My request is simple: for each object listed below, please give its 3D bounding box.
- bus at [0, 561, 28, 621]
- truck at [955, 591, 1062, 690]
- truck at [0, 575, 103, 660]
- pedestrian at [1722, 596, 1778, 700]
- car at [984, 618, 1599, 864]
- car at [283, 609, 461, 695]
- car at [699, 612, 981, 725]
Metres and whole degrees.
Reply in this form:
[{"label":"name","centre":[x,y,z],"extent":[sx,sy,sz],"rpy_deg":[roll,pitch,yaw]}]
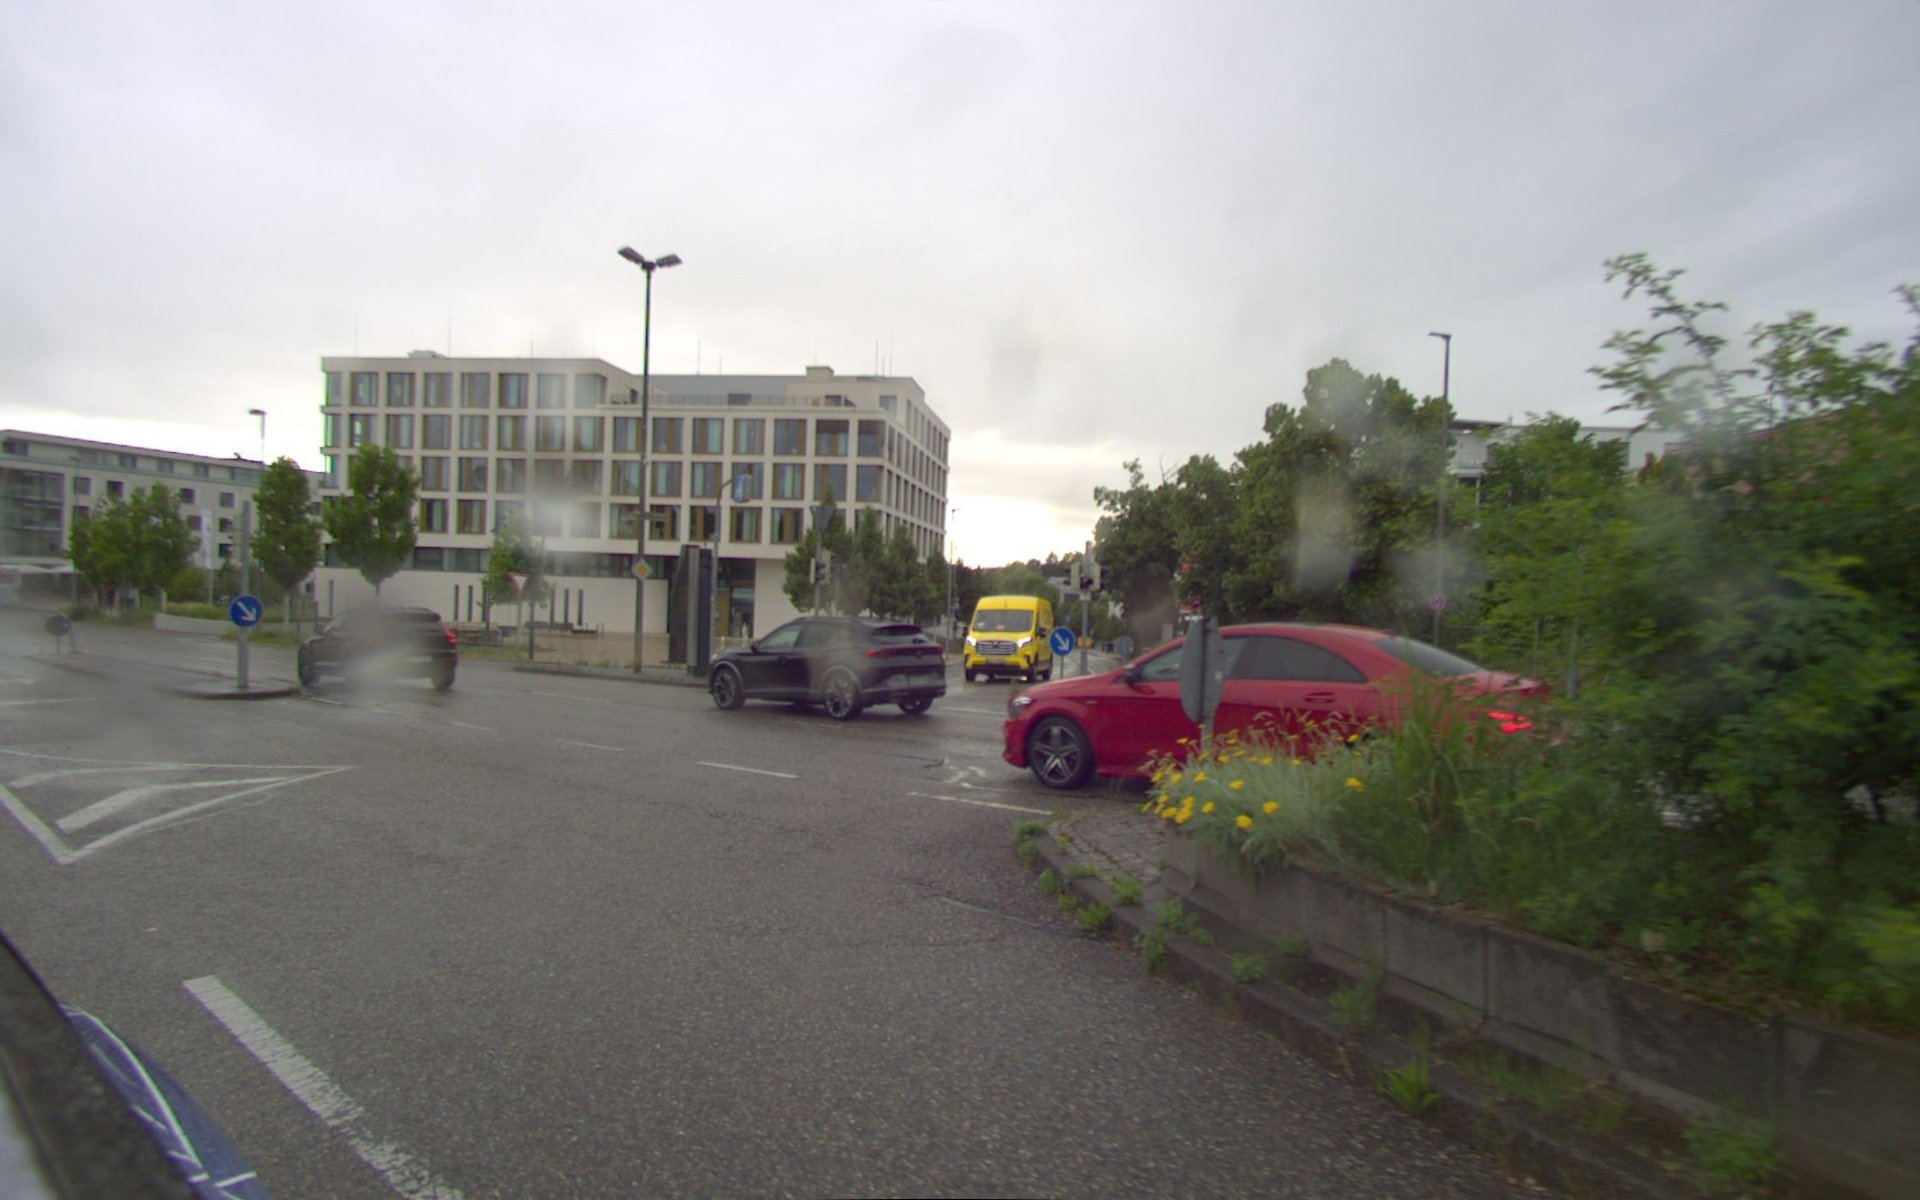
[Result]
[{"label":"bus","centre":[-72.855,-0.680,74.174],"extent":[18.190,4.025,2.917],"rpy_deg":[0,-2,36]},{"label":"truck","centre":[1.577,1.199,29.856],"extent":[2.205,2.557,6.153],"rpy_deg":[1,-2,11]},{"label":"truck","centre":[-29.224,0.513,32.195],"extent":[6.198,2.458,2.141],"rpy_deg":[0,-1,42]},{"label":"pedestrian","centre":[12.925,0.783,16.565],"extent":[0.543,1.654,0.502],"rpy_deg":[2,-3,-18]},{"label":"car","centre":[2.529,0.900,8.354],"extent":[4.428,1.424,1.973],"rpy_deg":[0,-1,41]},{"label":"car","centre":[-11.986,0.989,20.539],"extent":[4.072,1.564,1.883],"rpy_deg":[0,-2,41]},{"label":"car","centre":[-1.965,1.000,15.908],"extent":[4.291,1.489,1.931],"rpy_deg":[0,-3,39]}]
